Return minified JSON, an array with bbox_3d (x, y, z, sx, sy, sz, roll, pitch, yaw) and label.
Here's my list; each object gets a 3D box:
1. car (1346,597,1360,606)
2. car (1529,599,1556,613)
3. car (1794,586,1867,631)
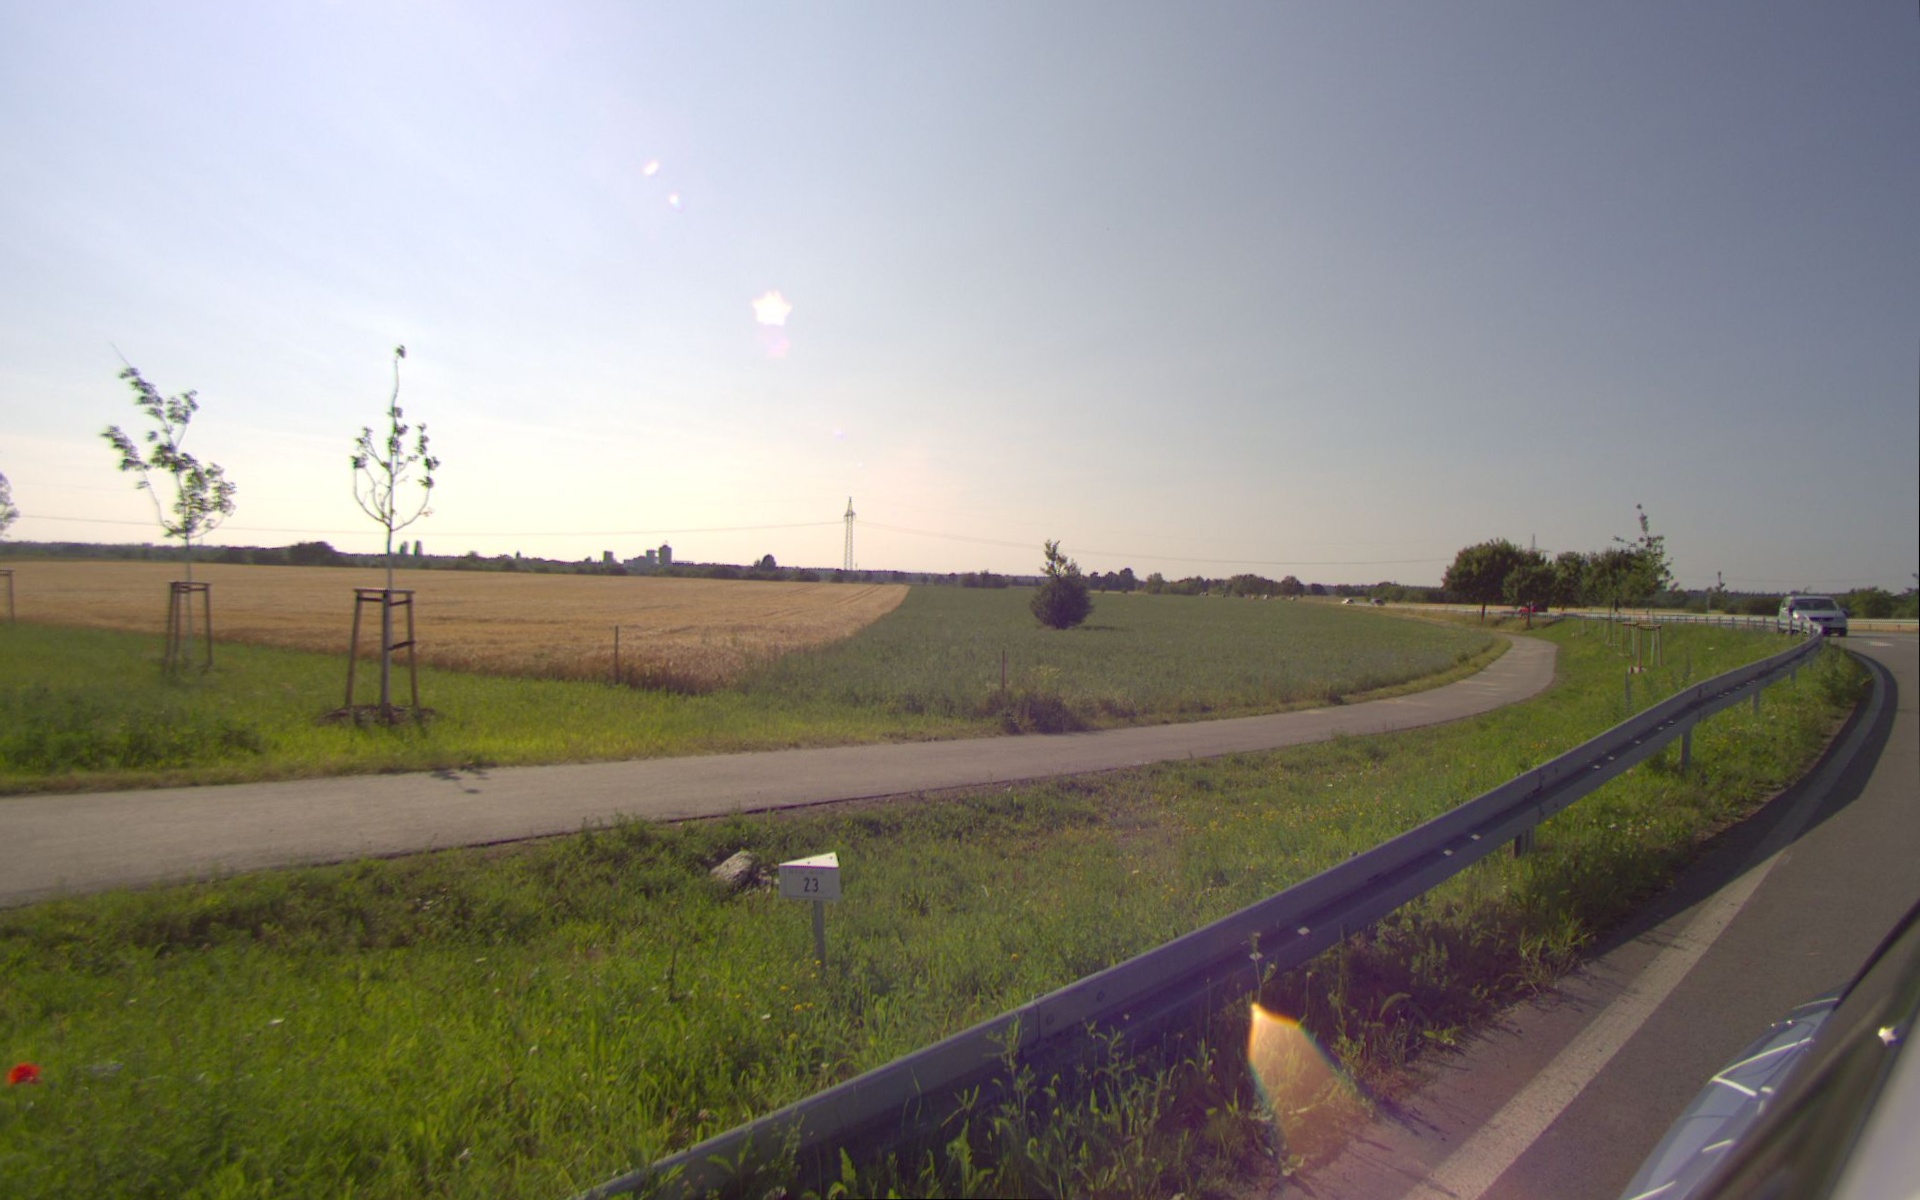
[{"bbox_3d":[84.566,0.276,217.821,1.965,1.779,3.993,1,0,6],"label":"car"},{"bbox_3d":[72.085,0.715,125.272,1.788,1.694,3.982,0,0,15],"label":"car"},{"bbox_3d":[35.122,0.292,40.929,1.744,1.716,4.163,-1,0,34],"label":"car"}]
